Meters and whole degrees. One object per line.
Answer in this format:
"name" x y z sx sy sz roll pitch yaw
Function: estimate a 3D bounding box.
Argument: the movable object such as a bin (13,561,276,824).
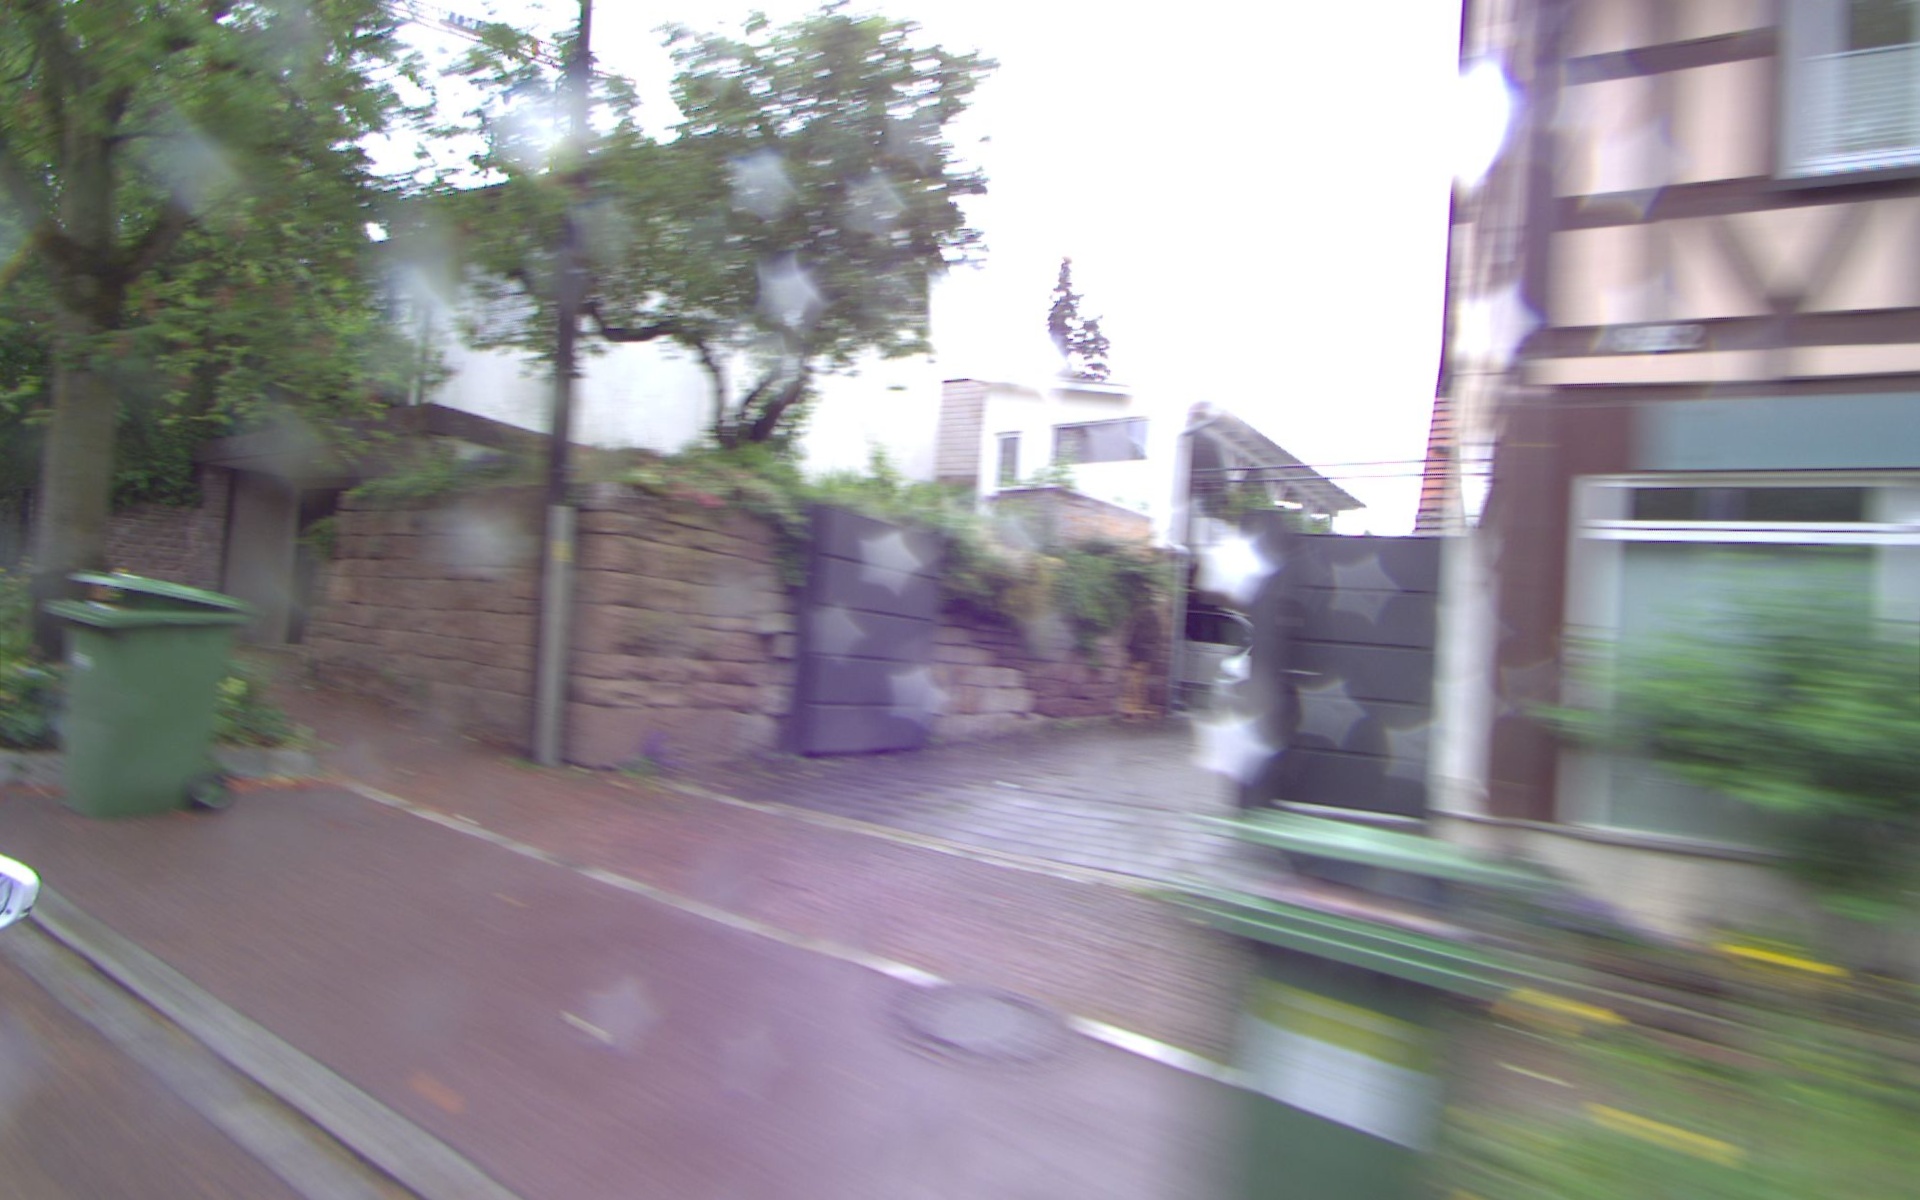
"movable object such as a bin" -4.108 0.449 5.090 0.691 1.156 0.725 7 -1 29

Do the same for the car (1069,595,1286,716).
"car" 4.509 1.106 20.928 3.930 1.994 1.837 6 0 26

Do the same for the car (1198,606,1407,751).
"car" 5.236 1.109 15.033 1.810 1.737 3.986 5 0 35

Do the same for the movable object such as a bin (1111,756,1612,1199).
"movable object such as a bin" 0.794 0.996 2.011 0.715 1.227 0.722 6 -1 32
